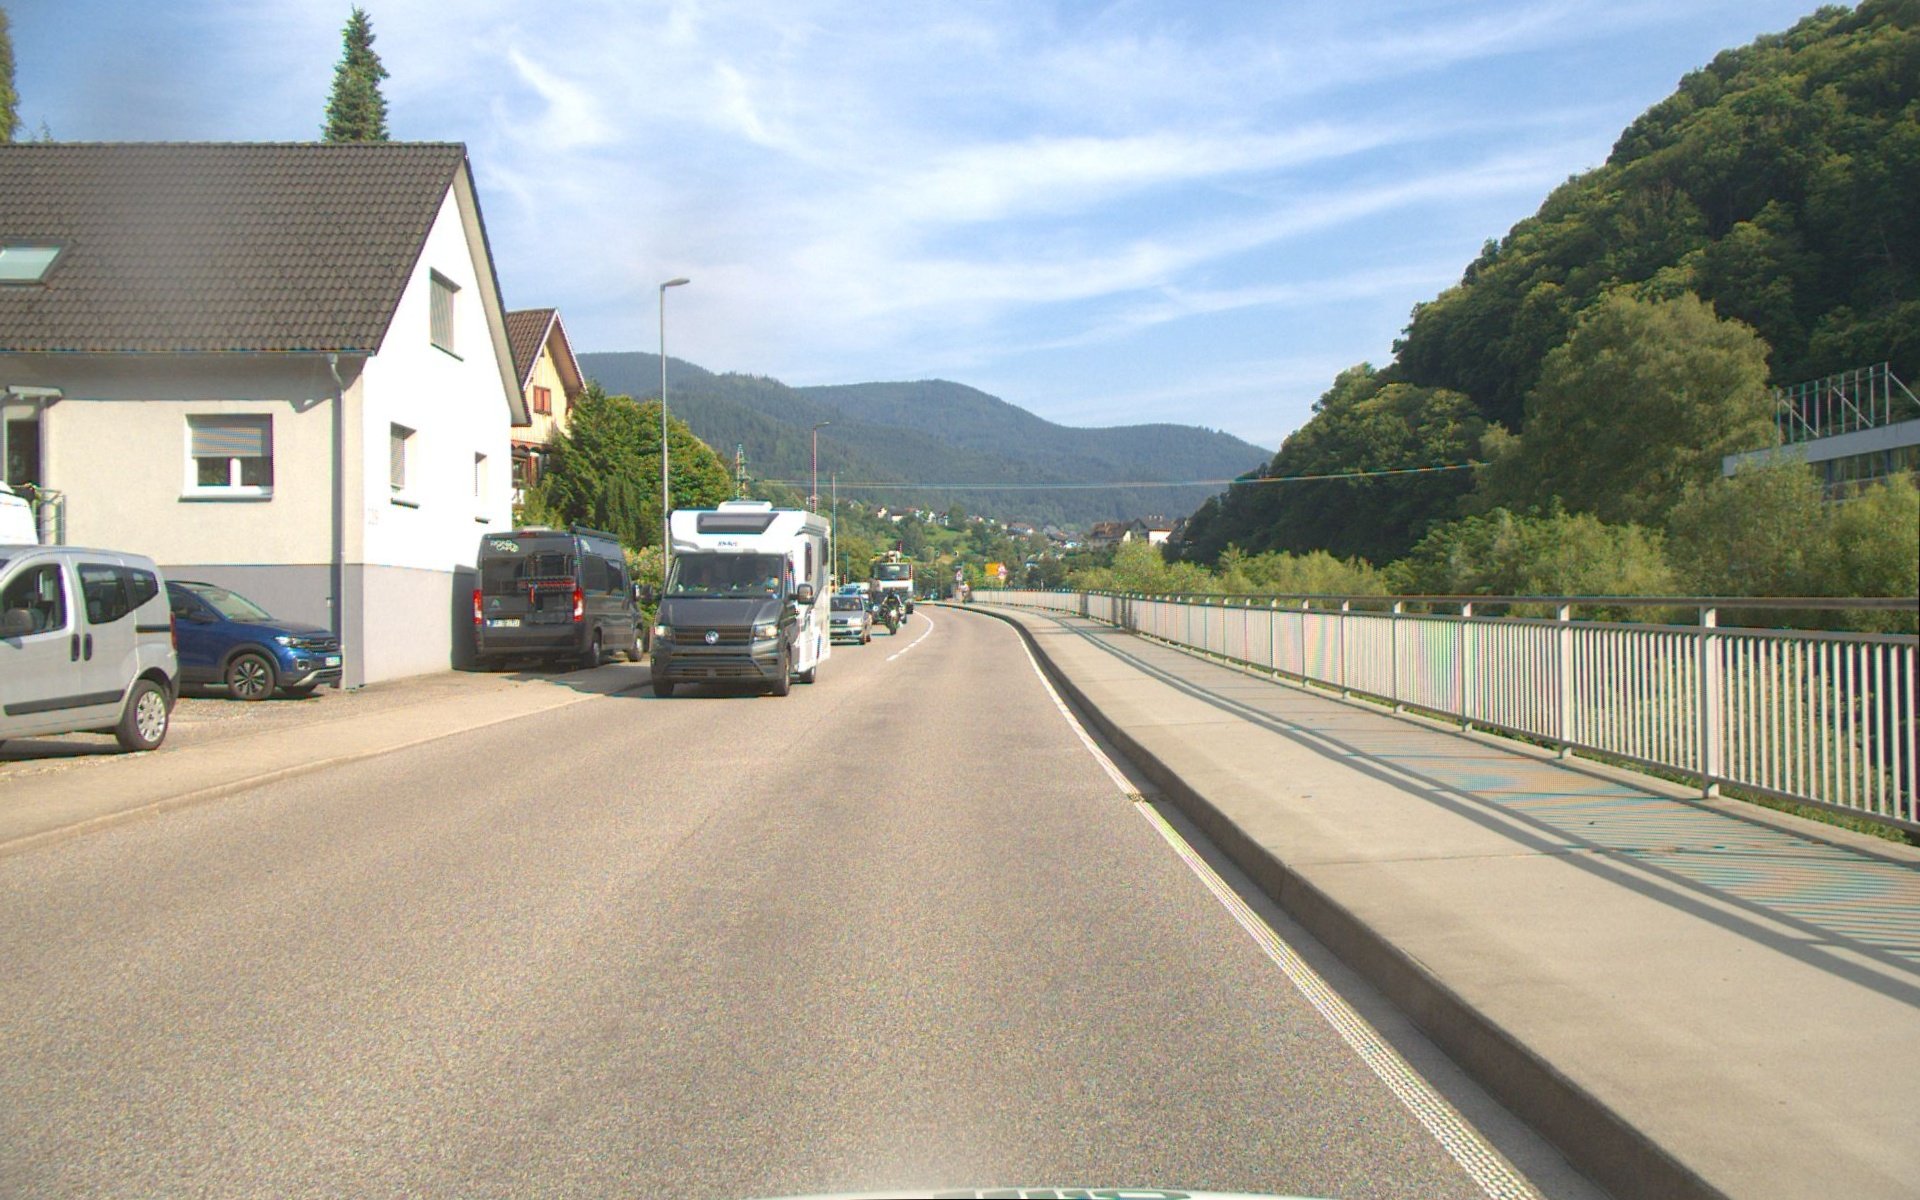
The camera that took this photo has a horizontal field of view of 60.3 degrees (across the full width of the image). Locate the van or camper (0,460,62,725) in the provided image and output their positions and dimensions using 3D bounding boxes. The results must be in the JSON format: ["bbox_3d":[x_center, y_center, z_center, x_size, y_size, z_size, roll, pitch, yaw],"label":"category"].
[{"bbox_3d":[-12.333,-0.109,17.028,5.065,2.710,2.194,1,0,7],"label":"van or camper"}]

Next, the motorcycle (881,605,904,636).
[{"bbox_3d":[-2.490,0.756,61.059,0.640,1.086,2.183,-1,0,3],"label":"motorcycle"}]

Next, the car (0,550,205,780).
[{"bbox_3d":[-7.931,0.473,12.923,1.861,1.693,4.269,0,0,4],"label":"car"}]

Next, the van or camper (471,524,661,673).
[{"bbox_3d":[-7.469,-0.029,32.051,2.103,2.600,5.903,-1,0,2],"label":"van or camper"}]

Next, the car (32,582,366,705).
[{"bbox_3d":[-10.740,0.589,23.553,3.838,1.577,1.907,1,0,0],"label":"car"}]

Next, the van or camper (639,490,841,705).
[{"bbox_3d":[-3.324,-0.066,26.635,2.150,2.990,7.128,0,0,1],"label":"van or camper"}]

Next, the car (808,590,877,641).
[{"bbox_3d":[-3.541,0.456,50.570,1.596,1.511,4.002,0,0,3],"label":"car"}]

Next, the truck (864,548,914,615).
[{"bbox_3d":[-4.704,-1.147,107.183,2.528,4.000,11.292,-1,0,-6],"label":"truck"}]

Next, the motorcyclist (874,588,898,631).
[{"bbox_3d":[-2.715,0.353,60.750,0.808,1.585,0.628,-1,-1,4],"label":"motorcyclist"}]
